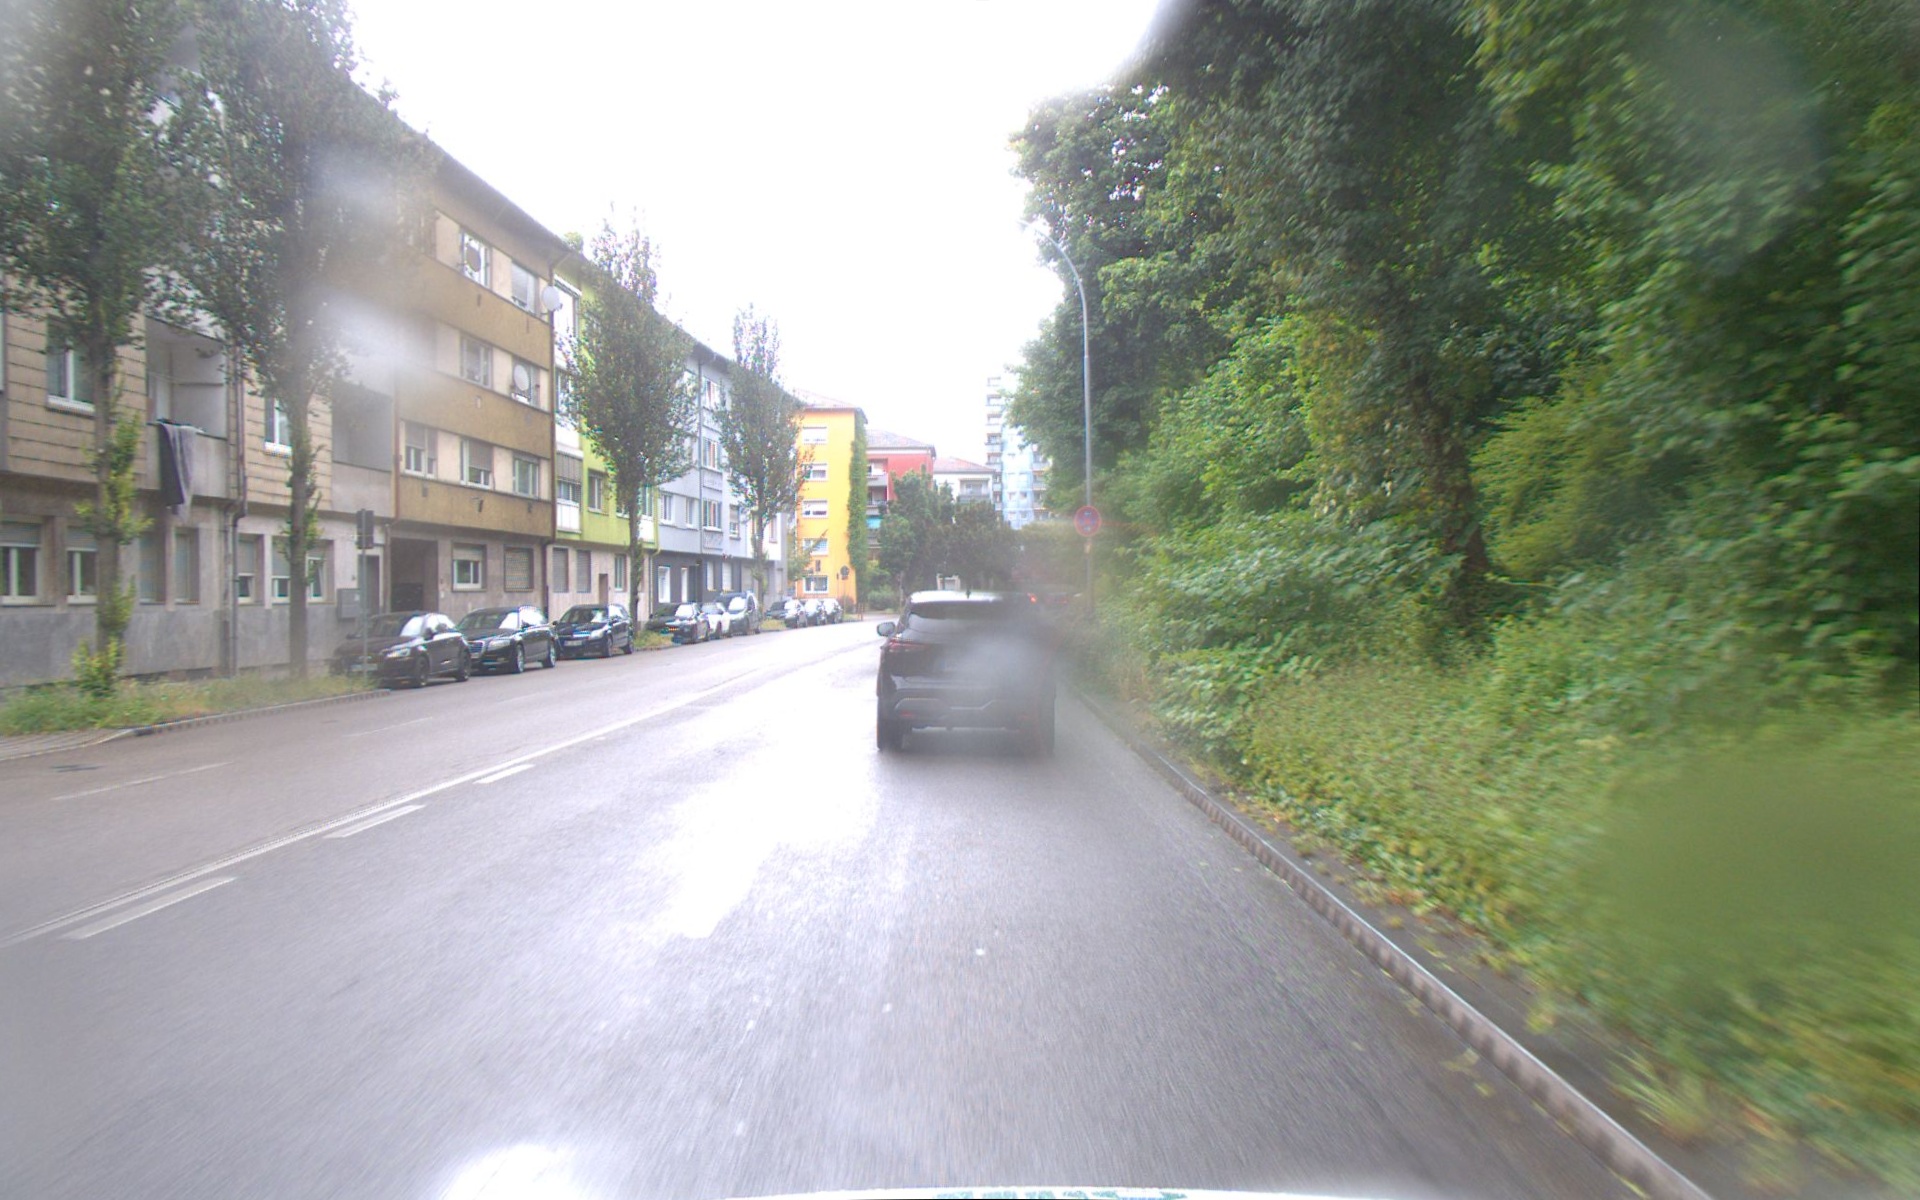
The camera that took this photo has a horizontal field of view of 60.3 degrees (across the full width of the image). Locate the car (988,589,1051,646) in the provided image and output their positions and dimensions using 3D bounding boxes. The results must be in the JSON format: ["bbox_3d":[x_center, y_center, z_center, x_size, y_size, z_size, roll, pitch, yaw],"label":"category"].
[{"bbox_3d":[1.924,0.513,52.731,1.847,1.741,4.002,0,0,4],"label":"car"}]

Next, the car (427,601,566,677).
[{"bbox_3d":[-10.533,0.834,37.961,1.780,1.514,4.790,-2,1,0],"label":"car"}]

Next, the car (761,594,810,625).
[{"bbox_3d":[-8.747,0.458,83.362,1.653,1.381,4.581,-4,0,3],"label":"car"}]

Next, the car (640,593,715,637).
[{"bbox_3d":[-10.022,0.511,59.003,1.780,1.396,4.681,-2,1,0],"label":"car"}]

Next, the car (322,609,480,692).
[{"bbox_3d":[-10.742,0.932,32.042,1.592,1.411,3.989,-1,1,1],"label":"car"}]

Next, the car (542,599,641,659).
[{"bbox_3d":[-10.472,0.784,47.309,1.683,1.514,4.516,-2,1,1],"label":"car"}]

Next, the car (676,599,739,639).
[{"bbox_3d":[-9.820,0.721,64.519,1.645,1.400,4.001,-3,0,2],"label":"car"}]

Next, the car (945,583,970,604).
[{"bbox_3d":[-0.194,-0.512,124.971,1.671,1.504,3.681,-1,0,2],"label":"car"}]

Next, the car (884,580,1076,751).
[{"bbox_3d":[0.142,0.602,17.774,1.807,1.610,3.999,1,1,-2],"label":"car"}]

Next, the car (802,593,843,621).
[{"bbox_3d":[-7.873,0.368,95.010,1.676,1.450,4.325,-3,0,4],"label":"car"}]

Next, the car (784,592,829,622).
[{"bbox_3d":[-8.243,0.363,89.151,1.645,1.474,4.278,-3,0,4],"label":"car"}]

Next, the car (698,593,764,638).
[{"bbox_3d":[-9.709,0.614,70.383,1.851,1.797,4.603,-2,0,4],"label":"car"}]
